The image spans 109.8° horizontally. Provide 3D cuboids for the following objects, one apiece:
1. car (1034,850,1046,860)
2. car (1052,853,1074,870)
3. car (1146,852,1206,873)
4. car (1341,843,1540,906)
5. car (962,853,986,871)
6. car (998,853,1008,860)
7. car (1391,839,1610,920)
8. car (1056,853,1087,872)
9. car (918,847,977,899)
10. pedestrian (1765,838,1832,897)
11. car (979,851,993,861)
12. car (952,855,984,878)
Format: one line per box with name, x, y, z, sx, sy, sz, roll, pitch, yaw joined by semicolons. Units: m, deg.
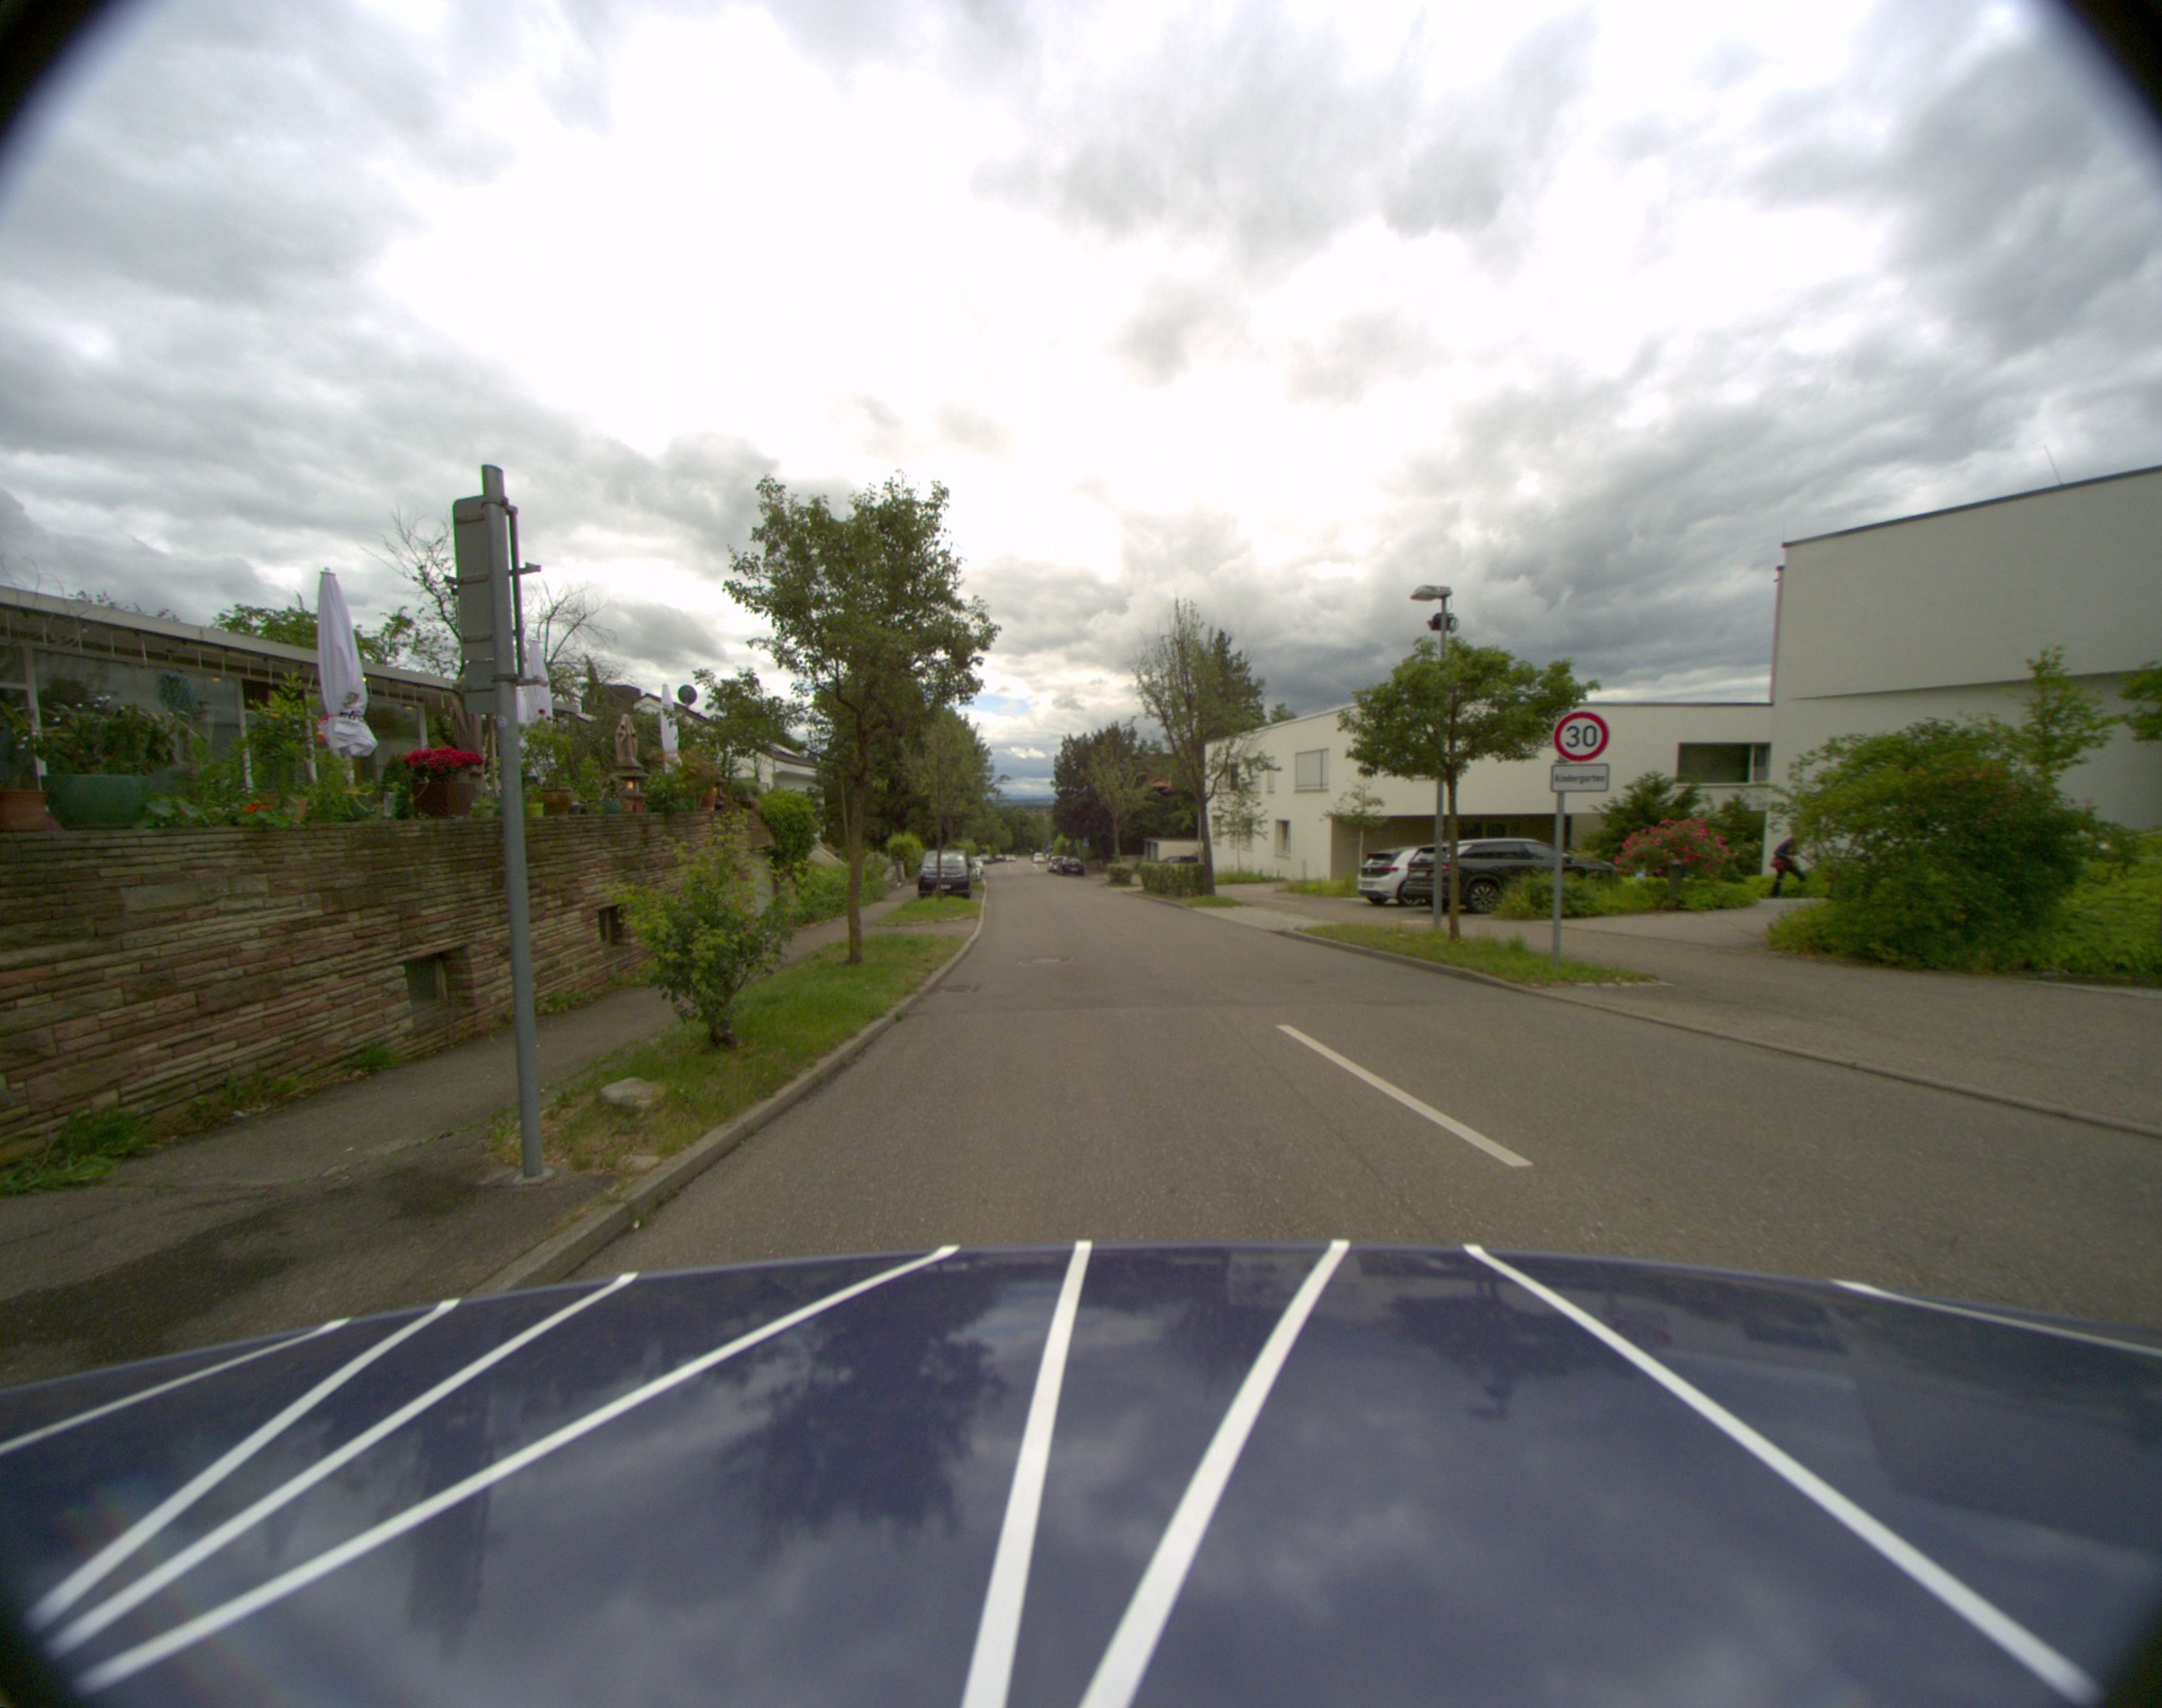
car;-6.314;0.132;117.172;1.694;1.411;3.578;2;0;-3
car;-1.657;0.661;68.668;1.629;1.510;2.973;-1;1;-8
car;6.461;0.579;52.013;3.805;1.346;1.741;-1;1;-3
car;9.506;0.495;20.286;4.401;1.557;2.065;0;0;-8
car;-10.226;0.723;72.577;2.008;1.599;4.753;0;0;-12
car;-16.747;0.524;162.618;1.999;1.221;3.998;-1;1;-4
car;9.591;0.541;17.569;3.999;1.644;2.007;-2;1;-6
car;-0.831;0.675;60.547;1.856;1.461;4.679;0;0;-8
car;-5.157;0.653;29.866;1.942;1.827;5.215;-1;0;-7
pedestrian;16.231;0.299;17.201;0.609;1.276;0.899;-2;1;-7
car;-14.414;0.345;115.035;1.795;1.480;4.377;0;0;-4
car;-7.726;0.828;52.319;2.000;1.483;5.001;0;0;-6
